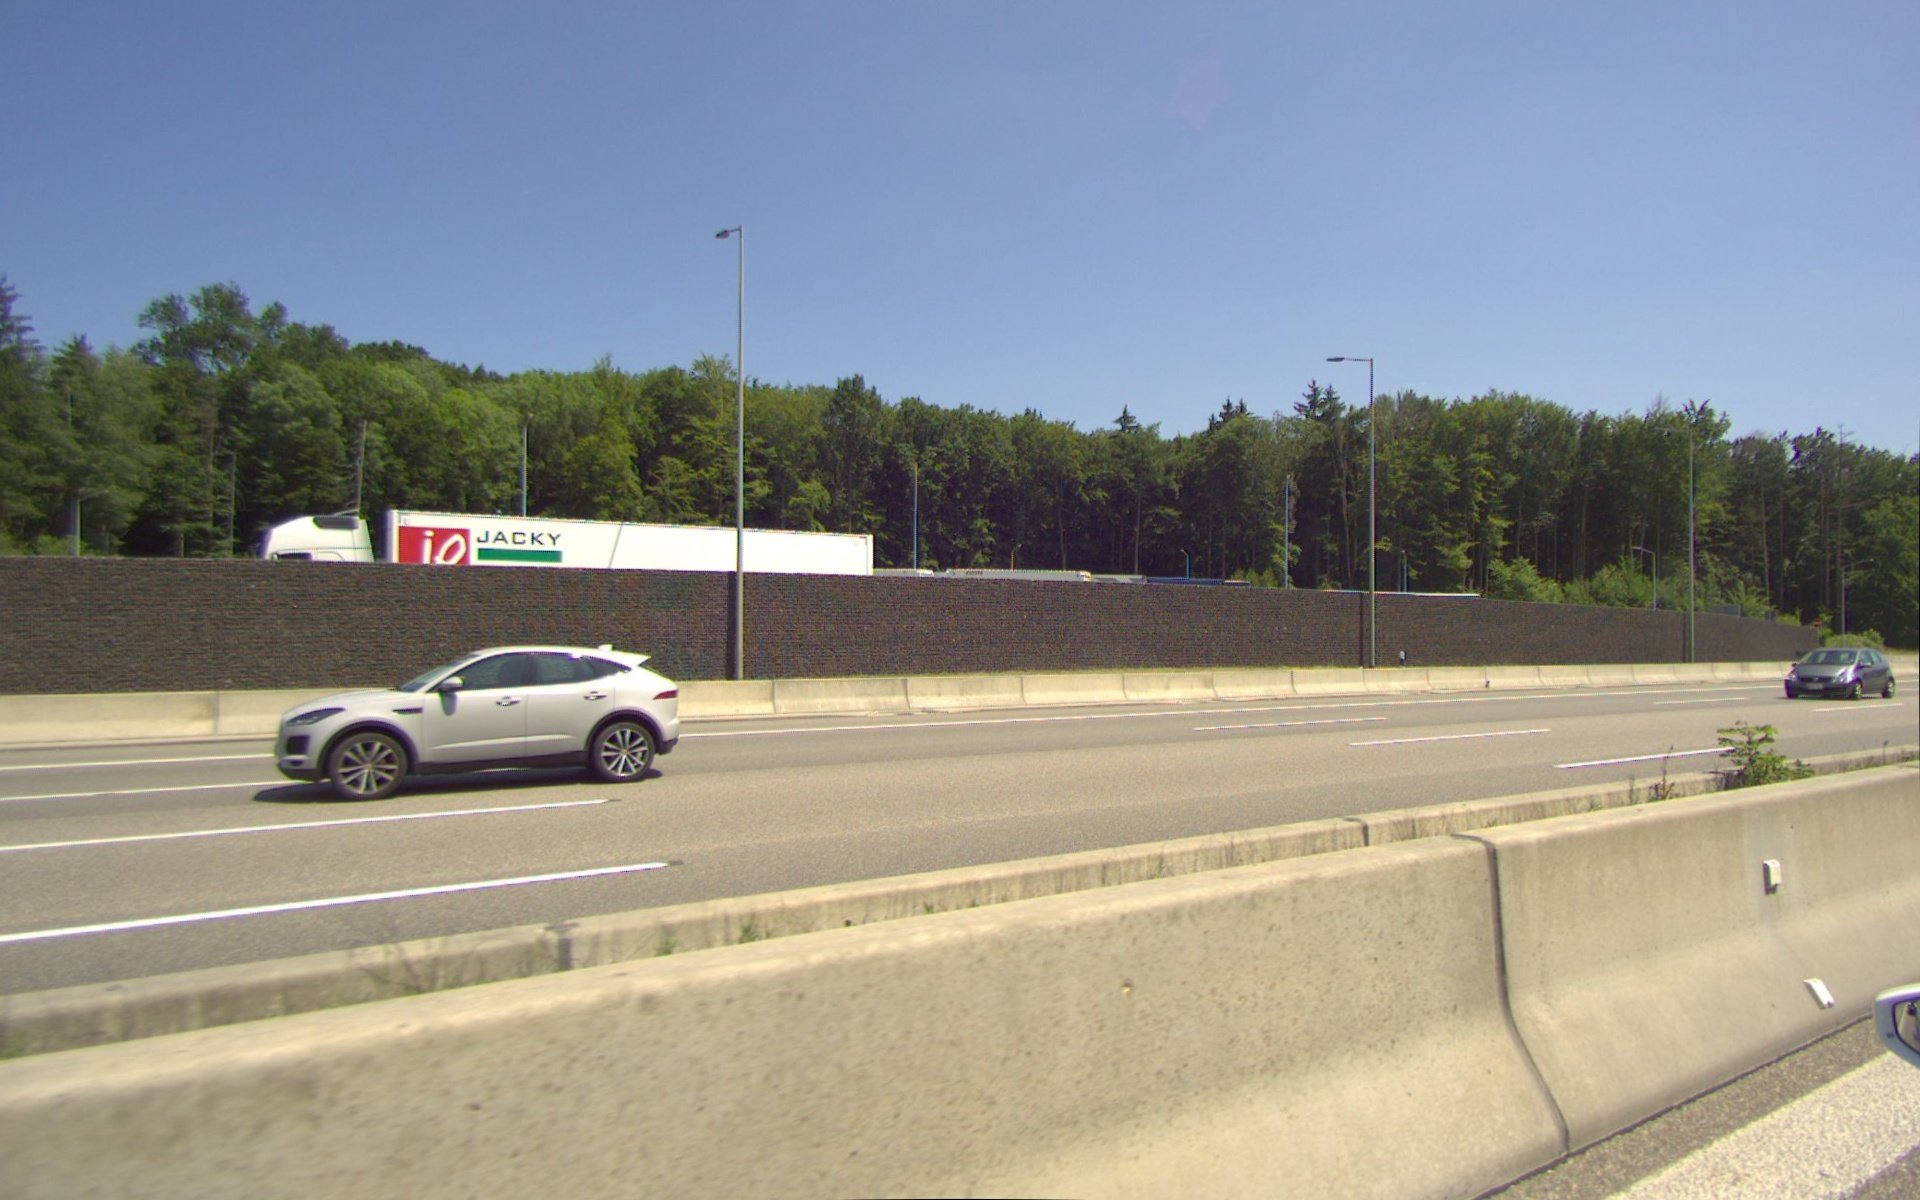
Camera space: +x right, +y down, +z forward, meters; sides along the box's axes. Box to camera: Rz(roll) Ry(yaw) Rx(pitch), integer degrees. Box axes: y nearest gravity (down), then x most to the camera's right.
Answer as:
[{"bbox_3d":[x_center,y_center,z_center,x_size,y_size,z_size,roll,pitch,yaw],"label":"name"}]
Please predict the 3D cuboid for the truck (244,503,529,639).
[{"bbox_3d":[-14.831,-0.580,26.373,6.130,3.165,2.913,1,-2,-30],"label":"truck"}]

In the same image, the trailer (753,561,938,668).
[{"bbox_3d":[-6.345,0.810,56.182,9.739,5.687,3.230,0,-1,15],"label":"trailer"}]

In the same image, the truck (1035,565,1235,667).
[{"bbox_3d":[10.266,0.972,59.002,11.305,5.687,3.230,0,-1,15],"label":"truck"}]

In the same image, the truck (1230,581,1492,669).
[{"bbox_3d":[26.995,1.692,68.898,16.374,5.686,3.453,0,-1,15],"label":"truck"}]

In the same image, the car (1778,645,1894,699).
[{"bbox_3d":[27.699,2.231,31.727,4.014,1.575,1.712,2,-2,-33],"label":"car"}]

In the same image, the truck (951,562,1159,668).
[{"bbox_3d":[5.373,0.859,56.607,11.305,5.687,3.230,0,-1,15],"label":"truck"}]

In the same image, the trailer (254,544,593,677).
[{"bbox_3d":[-22.704,0.472,42.395,14.273,5.139,3.132,0,-1,15],"label":"trailer"}]

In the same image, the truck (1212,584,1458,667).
[{"bbox_3d":[26.732,1.848,72.713,16.374,5.687,3.225,0,-1,15],"label":"truck"}]

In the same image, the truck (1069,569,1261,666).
[{"bbox_3d":[12.581,1.098,61.874,11.305,5.687,3.370,0,-1,15],"label":"truck"}]

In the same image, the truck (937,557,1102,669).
[{"bbox_3d":[3.243,0.737,53.625,8.317,5.687,3.230,0,-1,15],"label":"truck"}]

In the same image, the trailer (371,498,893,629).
[{"bbox_3d":[-9.101,-0.765,29.898,14.438,3.165,2.958,1,-2,-30],"label":"trailer"}]

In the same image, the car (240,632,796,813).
[{"bbox_3d":[-5.137,1.312,12.386,5.854,1.797,1.984,1,-2,-30],"label":"car"}]
